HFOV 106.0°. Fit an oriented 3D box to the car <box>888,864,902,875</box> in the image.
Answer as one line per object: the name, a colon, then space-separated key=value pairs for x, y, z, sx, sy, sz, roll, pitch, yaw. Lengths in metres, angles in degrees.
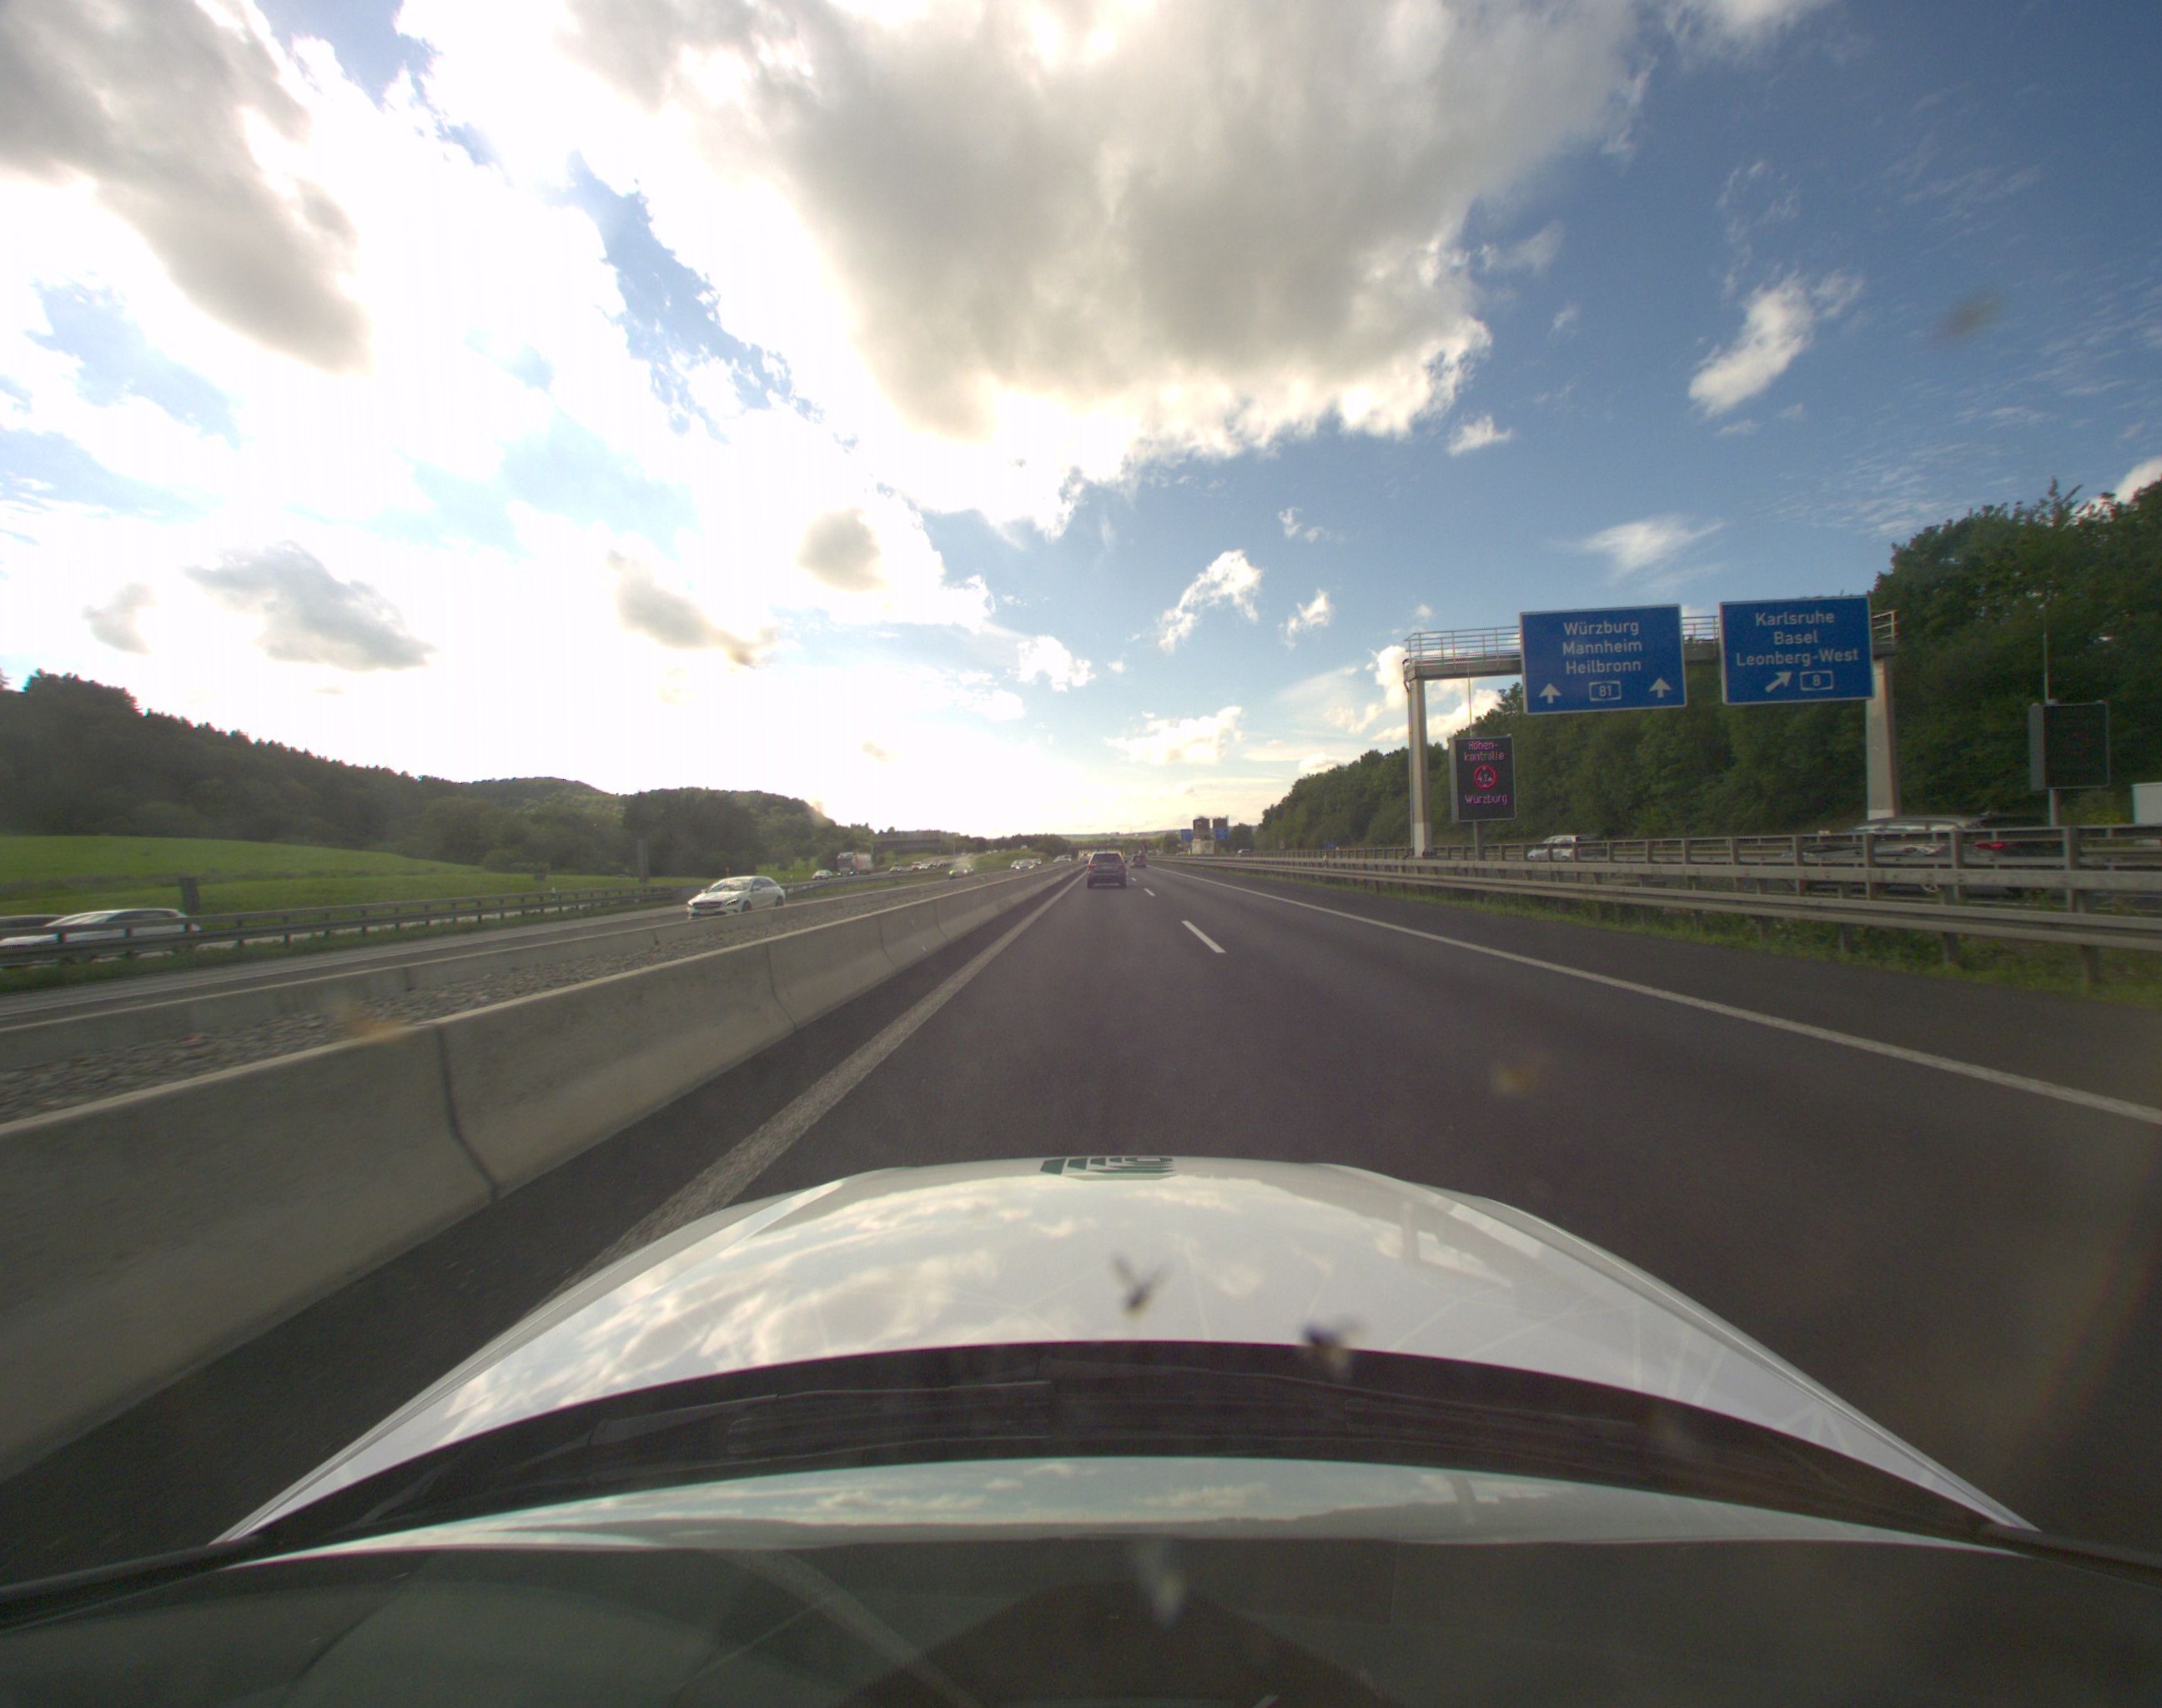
car: x=-34.661 y=2.866 z=151.710 sx=1.770 sy=1.897 sz=4.390 roll=-3 pitch=0 yaw=-5

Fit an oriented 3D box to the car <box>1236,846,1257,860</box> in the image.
car: x=22.284 y=-0.081 z=109.763 sx=1.986 sy=1.717 sz=4.001 roll=-3 pitch=0 yaw=2

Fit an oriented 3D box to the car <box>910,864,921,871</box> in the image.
car: x=-38.059 y=3.044 z=187.185 sx=1.769 sy=1.548 sz=4.883 roll=-3 pitch=0 yaw=-4

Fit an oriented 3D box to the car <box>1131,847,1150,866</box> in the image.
car: x=6.926 y=0.323 z=95.423 sx=1.986 sy=2.081 sz=4.001 roll=-3 pitch=-1 yaw=2

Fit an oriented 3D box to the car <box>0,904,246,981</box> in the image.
car: x=-26.863 y=2.383 z=22.776 sx=1.986 sy=1.618 sz=4.710 roll=-3 pitch=0 yaw=2

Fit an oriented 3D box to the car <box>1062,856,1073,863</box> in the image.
car: x=-3.003 y=1.216 z=180.139 sx=1.986 sy=1.532 sz=5.749 roll=-3 pitch=0 yaw=1

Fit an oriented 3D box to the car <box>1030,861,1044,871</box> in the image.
car: x=-7.781 y=2.097 z=145.012 sx=1.986 sy=1.532 sz=4.508 roll=-3 pitch=0 yaw=1

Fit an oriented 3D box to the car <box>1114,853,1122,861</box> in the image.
car: x=9.734 y=0.827 z=214.172 sx=1.968 sy=1.779 sz=4.121 roll=-3 pitch=0 yaw=1

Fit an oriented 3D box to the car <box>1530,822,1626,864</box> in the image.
car: x=22.714 y=-0.469 z=37.424 sx=1.986 sy=1.708 sz=4.001 roll=-3 pitch=0 yaw=2

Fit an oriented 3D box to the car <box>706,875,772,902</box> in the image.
car: x=-21.690 y=2.150 z=51.930 sx=1.987 sy=1.451 sz=5.002 roll=-3 pitch=0 yaw=0

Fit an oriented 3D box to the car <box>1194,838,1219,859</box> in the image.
car: x=24.145 y=-1.044 z=157.063 sx=3.563 sy=3.676 sz=7.551 roll=-3 pitch=-1 yaw=2

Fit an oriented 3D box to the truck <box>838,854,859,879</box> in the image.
truck: x=-37.271 y=1.991 z=130.688 sx=1.989 sy=3.761 sz=5.144 roll=-3 pitch=-1 yaw=-3

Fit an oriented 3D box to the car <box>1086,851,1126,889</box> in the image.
car: x=1.233 y=0.745 z=39.262 sx=1.742 sy=1.630 sz=3.611 roll=-3 pitch=0 yaw=3

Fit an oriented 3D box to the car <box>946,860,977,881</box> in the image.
car: x=-10.399 y=1.410 z=71.143 sx=1.794 sy=1.618 sz=4.303 roll=-3 pitch=0 yaw=2

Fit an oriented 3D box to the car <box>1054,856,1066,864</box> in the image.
car: x=-4.105 y=1.146 z=157.183 sx=1.986 sy=1.532 sz=5.022 roll=-3 pitch=0 yaw=1

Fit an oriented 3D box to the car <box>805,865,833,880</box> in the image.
car: x=-31.559 y=2.255 z=98.302 sx=1.794 sy=1.618 sz=4.303 roll=-3 pitch=0 yaw=2

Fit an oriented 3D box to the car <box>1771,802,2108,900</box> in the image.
car: x=15.420 y=-0.037 z=15.018 sx=1.987 sy=1.484 sz=4.000 roll=-2 pitch=0 yaw=1

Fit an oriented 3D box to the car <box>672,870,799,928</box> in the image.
car: x=-11.614 y=1.465 z=27.861 sx=1.986 sy=1.618 sz=5.004 roll=-3 pitch=0 yaw=2

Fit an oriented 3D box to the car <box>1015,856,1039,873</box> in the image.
car: x=-5.730 y=1.075 z=87.180 sx=1.920 sy=1.618 sz=5.420 roll=-3 pitch=0 yaw=2

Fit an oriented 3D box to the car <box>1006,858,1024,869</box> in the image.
car: x=-9.366 y=1.371 z=115.130 sx=1.986 sy=1.456 sz=4.182 roll=-3 pitch=0 yaw=2

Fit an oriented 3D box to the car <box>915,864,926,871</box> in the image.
car: x=-33.489 y=2.777 z=169.756 sx=1.770 sy=1.400 sz=4.388 roll=-3 pitch=0 yaw=-6
